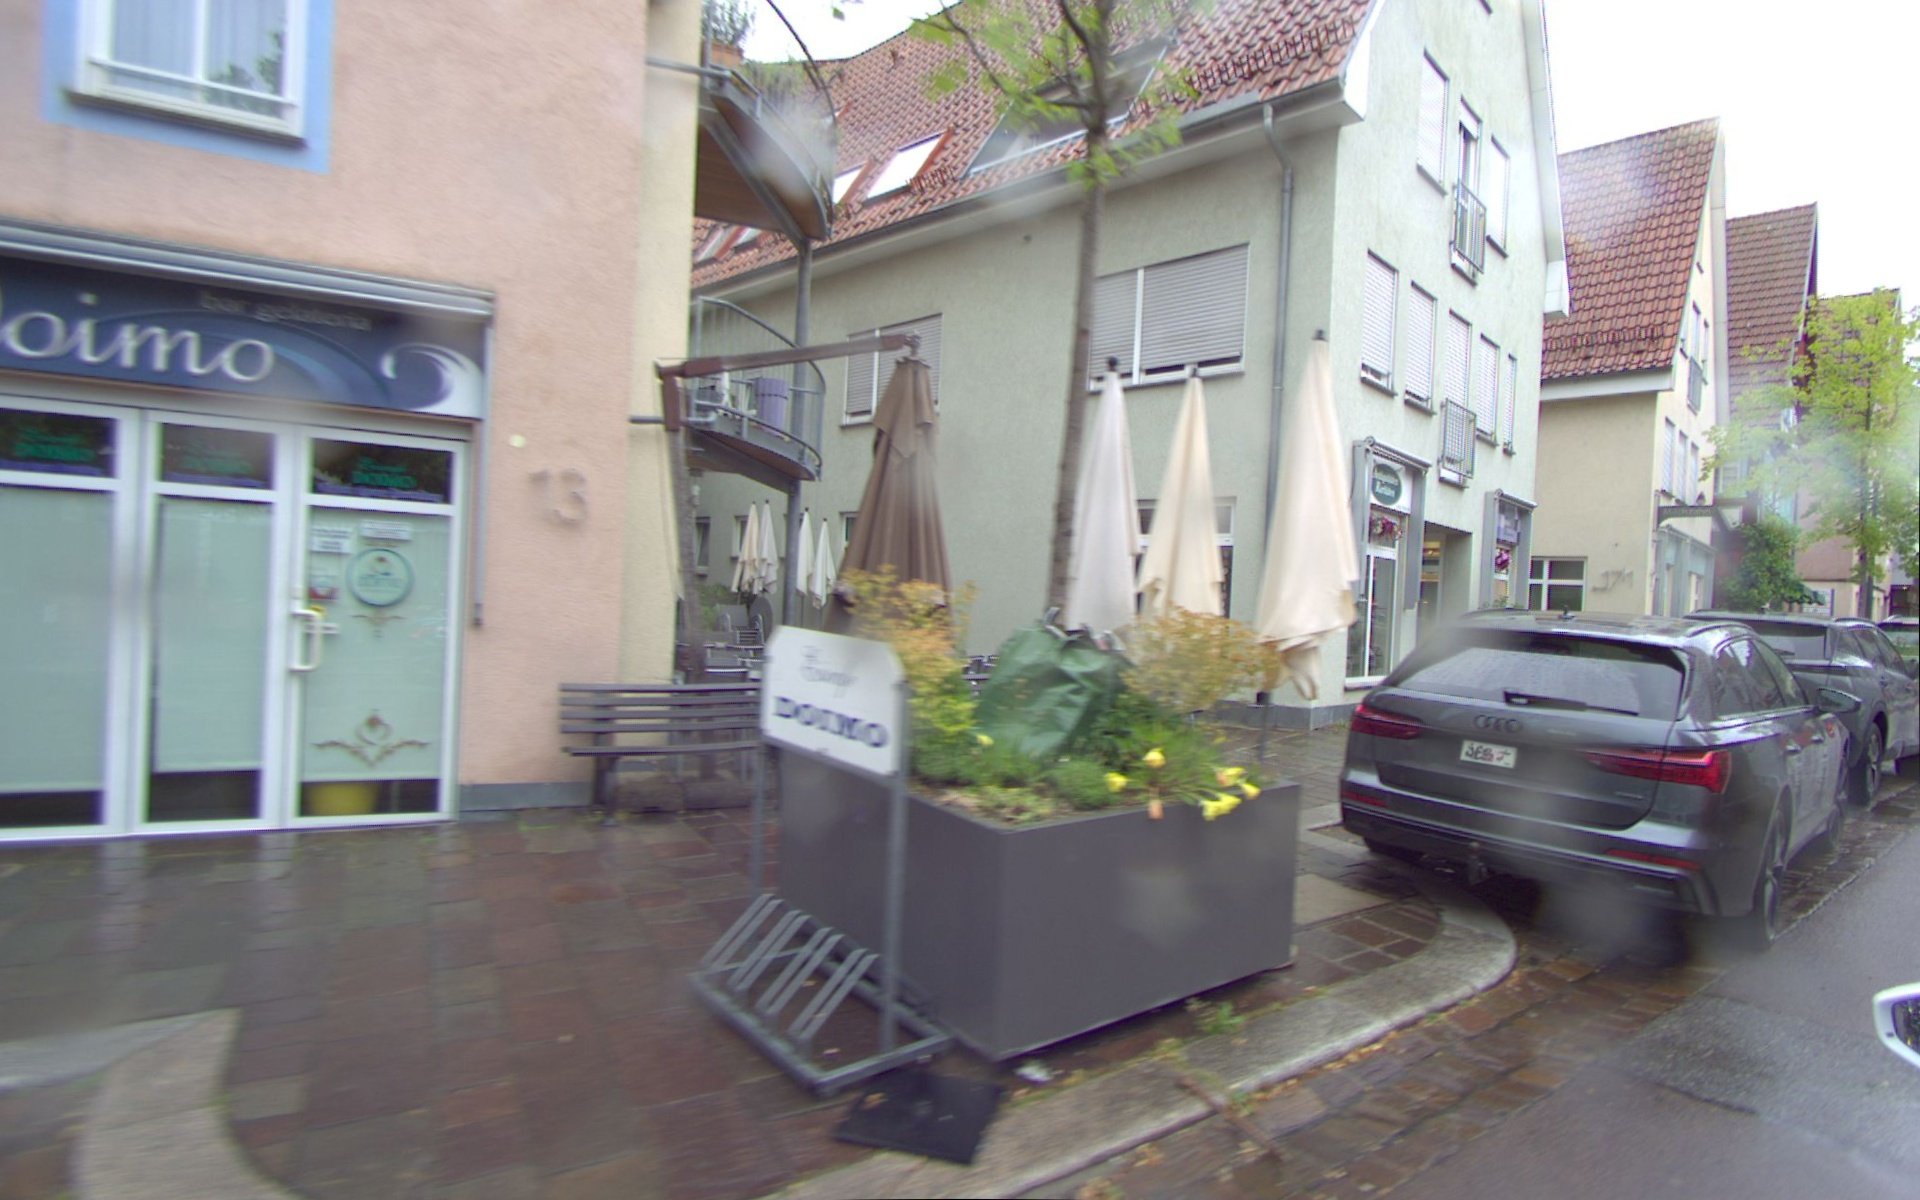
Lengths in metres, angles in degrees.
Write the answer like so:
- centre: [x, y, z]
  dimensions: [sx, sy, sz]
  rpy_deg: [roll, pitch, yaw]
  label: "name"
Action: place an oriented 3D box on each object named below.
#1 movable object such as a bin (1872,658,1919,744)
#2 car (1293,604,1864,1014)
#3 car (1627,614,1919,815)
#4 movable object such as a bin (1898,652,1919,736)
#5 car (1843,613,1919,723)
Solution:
- centre: [12.596, 1.327, 13.324]
  dimensions: [0.719, 1.093, 0.616]
  rpy_deg: [3, -2, -38]
  label: "movable object such as a bin"
- centre: [3.966, 0.868, 6.007]
  dimensions: [4.597, 1.452, 1.783]
  rpy_deg: [3, 1, -44]
  label: "car"
- centre: [8.128, 0.993, 9.785]
  dimensions: [3.943, 1.566, 1.580]
  rpy_deg: [3, -2, -38]
  label: "car"
- centre: [14.229, 1.381, 14.725]
  dimensions: [0.518, 1.217, 0.598]
  rpy_deg: [3, -1, -36]
  label: "movable object such as a bin"
- centre: [16.812, 1.185, 17.188]
  dimensions: [4.440, 1.697, 1.758]
  rpy_deg: [3, 0, -38]
  label: "car"
